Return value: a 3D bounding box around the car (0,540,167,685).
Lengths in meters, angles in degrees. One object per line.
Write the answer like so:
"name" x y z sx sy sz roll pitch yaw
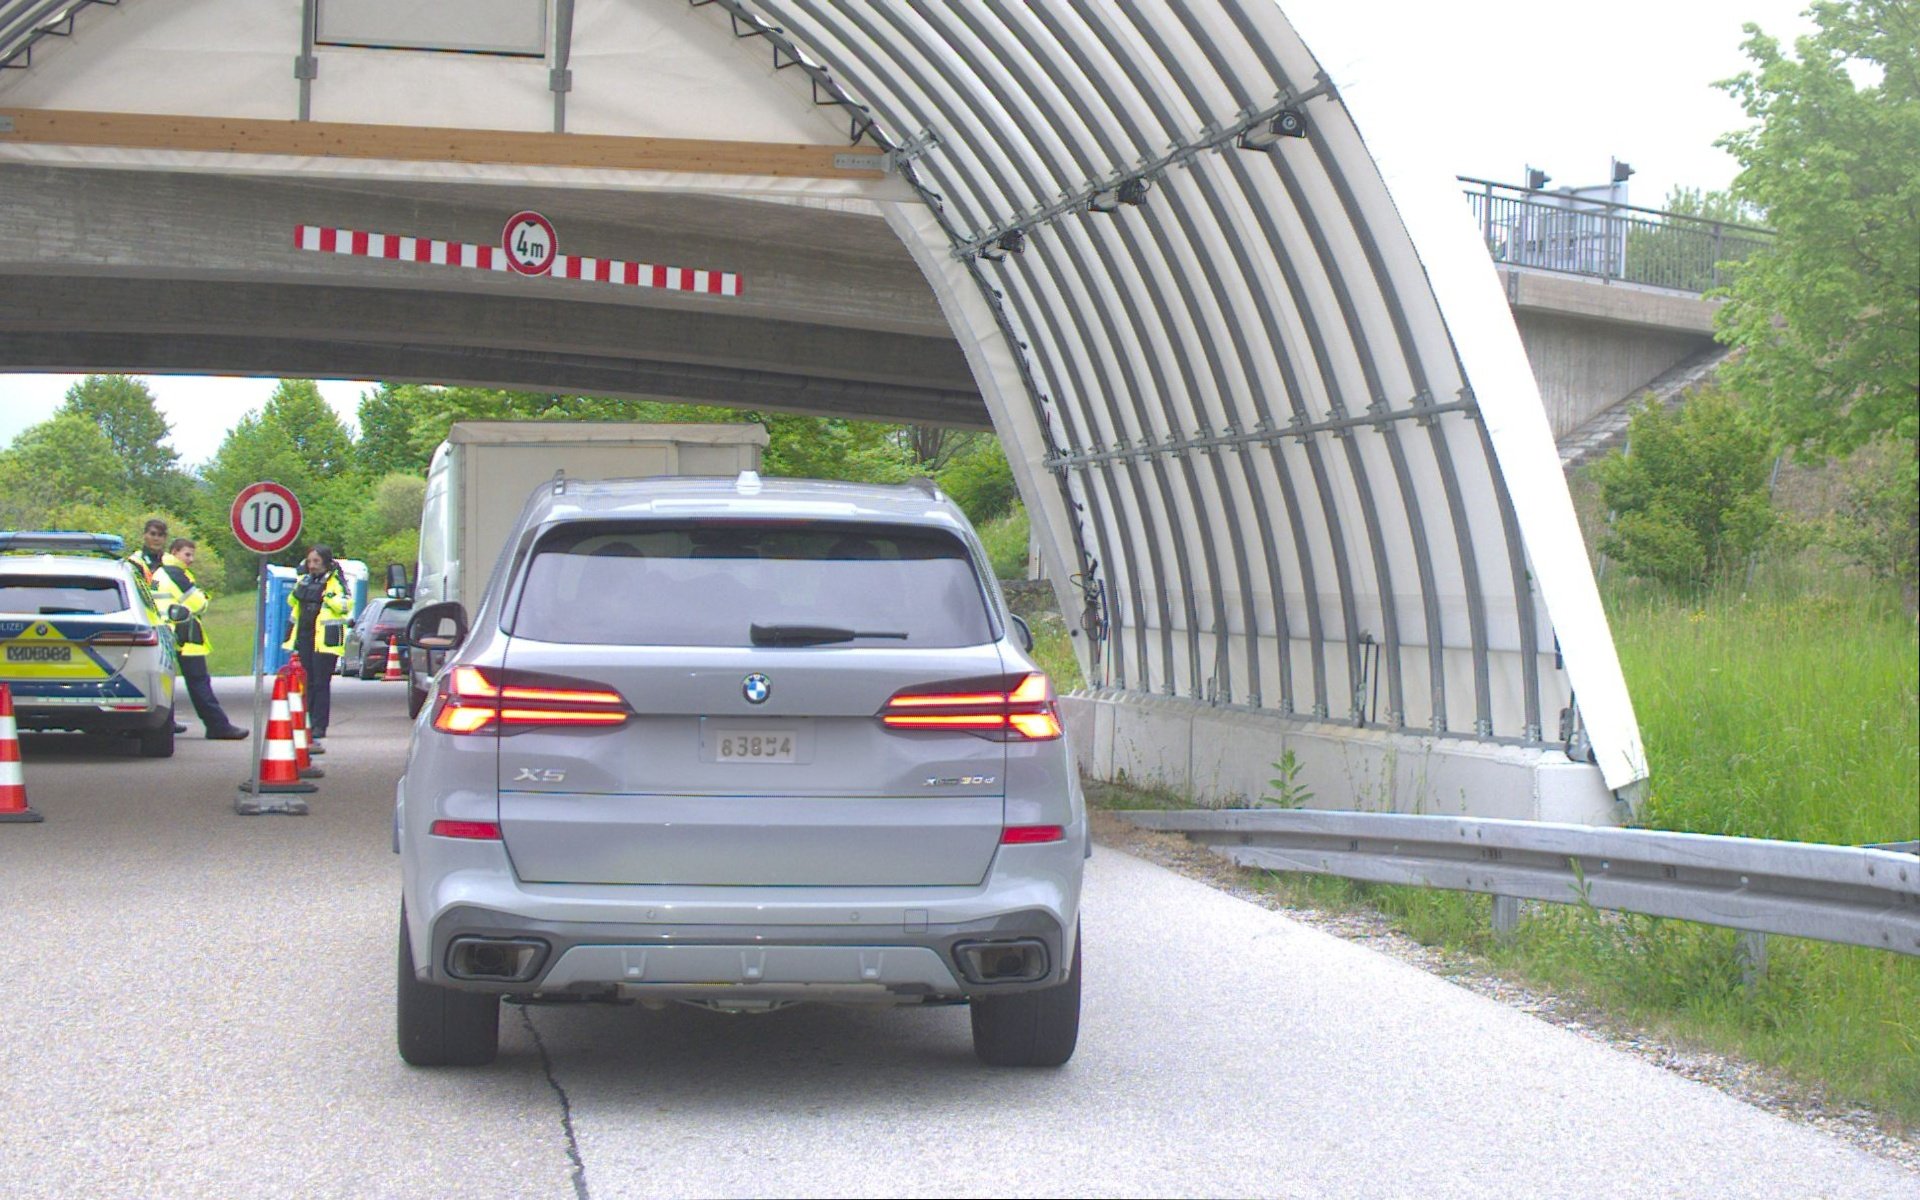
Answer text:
"car" -13.931 0.166 48.936 4.807 2.007 1.840 0 0 7

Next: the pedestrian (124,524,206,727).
"pedestrian" -6.934 0.221 29.993 0.609 1.748 0.666 0 0 -6

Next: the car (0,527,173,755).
"car" -7.151 0.282 26.755 1.877 1.641 4.001 0 0 -15

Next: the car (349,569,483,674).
"car" -9.283 0.344 58.477 1.993 1.716 3.897 0 0 -13

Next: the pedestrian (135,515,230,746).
"pedestrian" -6.548 0.252 28.941 0.749 1.912 0.763 0 0 -15

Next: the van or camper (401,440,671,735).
"van or camper" -4.059 -0.128 32.106 2.103 2.510 5.553 0 0 -11

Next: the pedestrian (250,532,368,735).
"pedestrian" -5.592 0.281 29.550 0.780 1.716 0.756 0 0 9

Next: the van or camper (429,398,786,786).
"van or camper" -2.822 -0.078 25.974 2.229 2.543 6.612 0 0 -10

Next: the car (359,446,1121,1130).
"car" -0.878 0.466 10.980 1.993 1.759 4.001 0 0 -9
